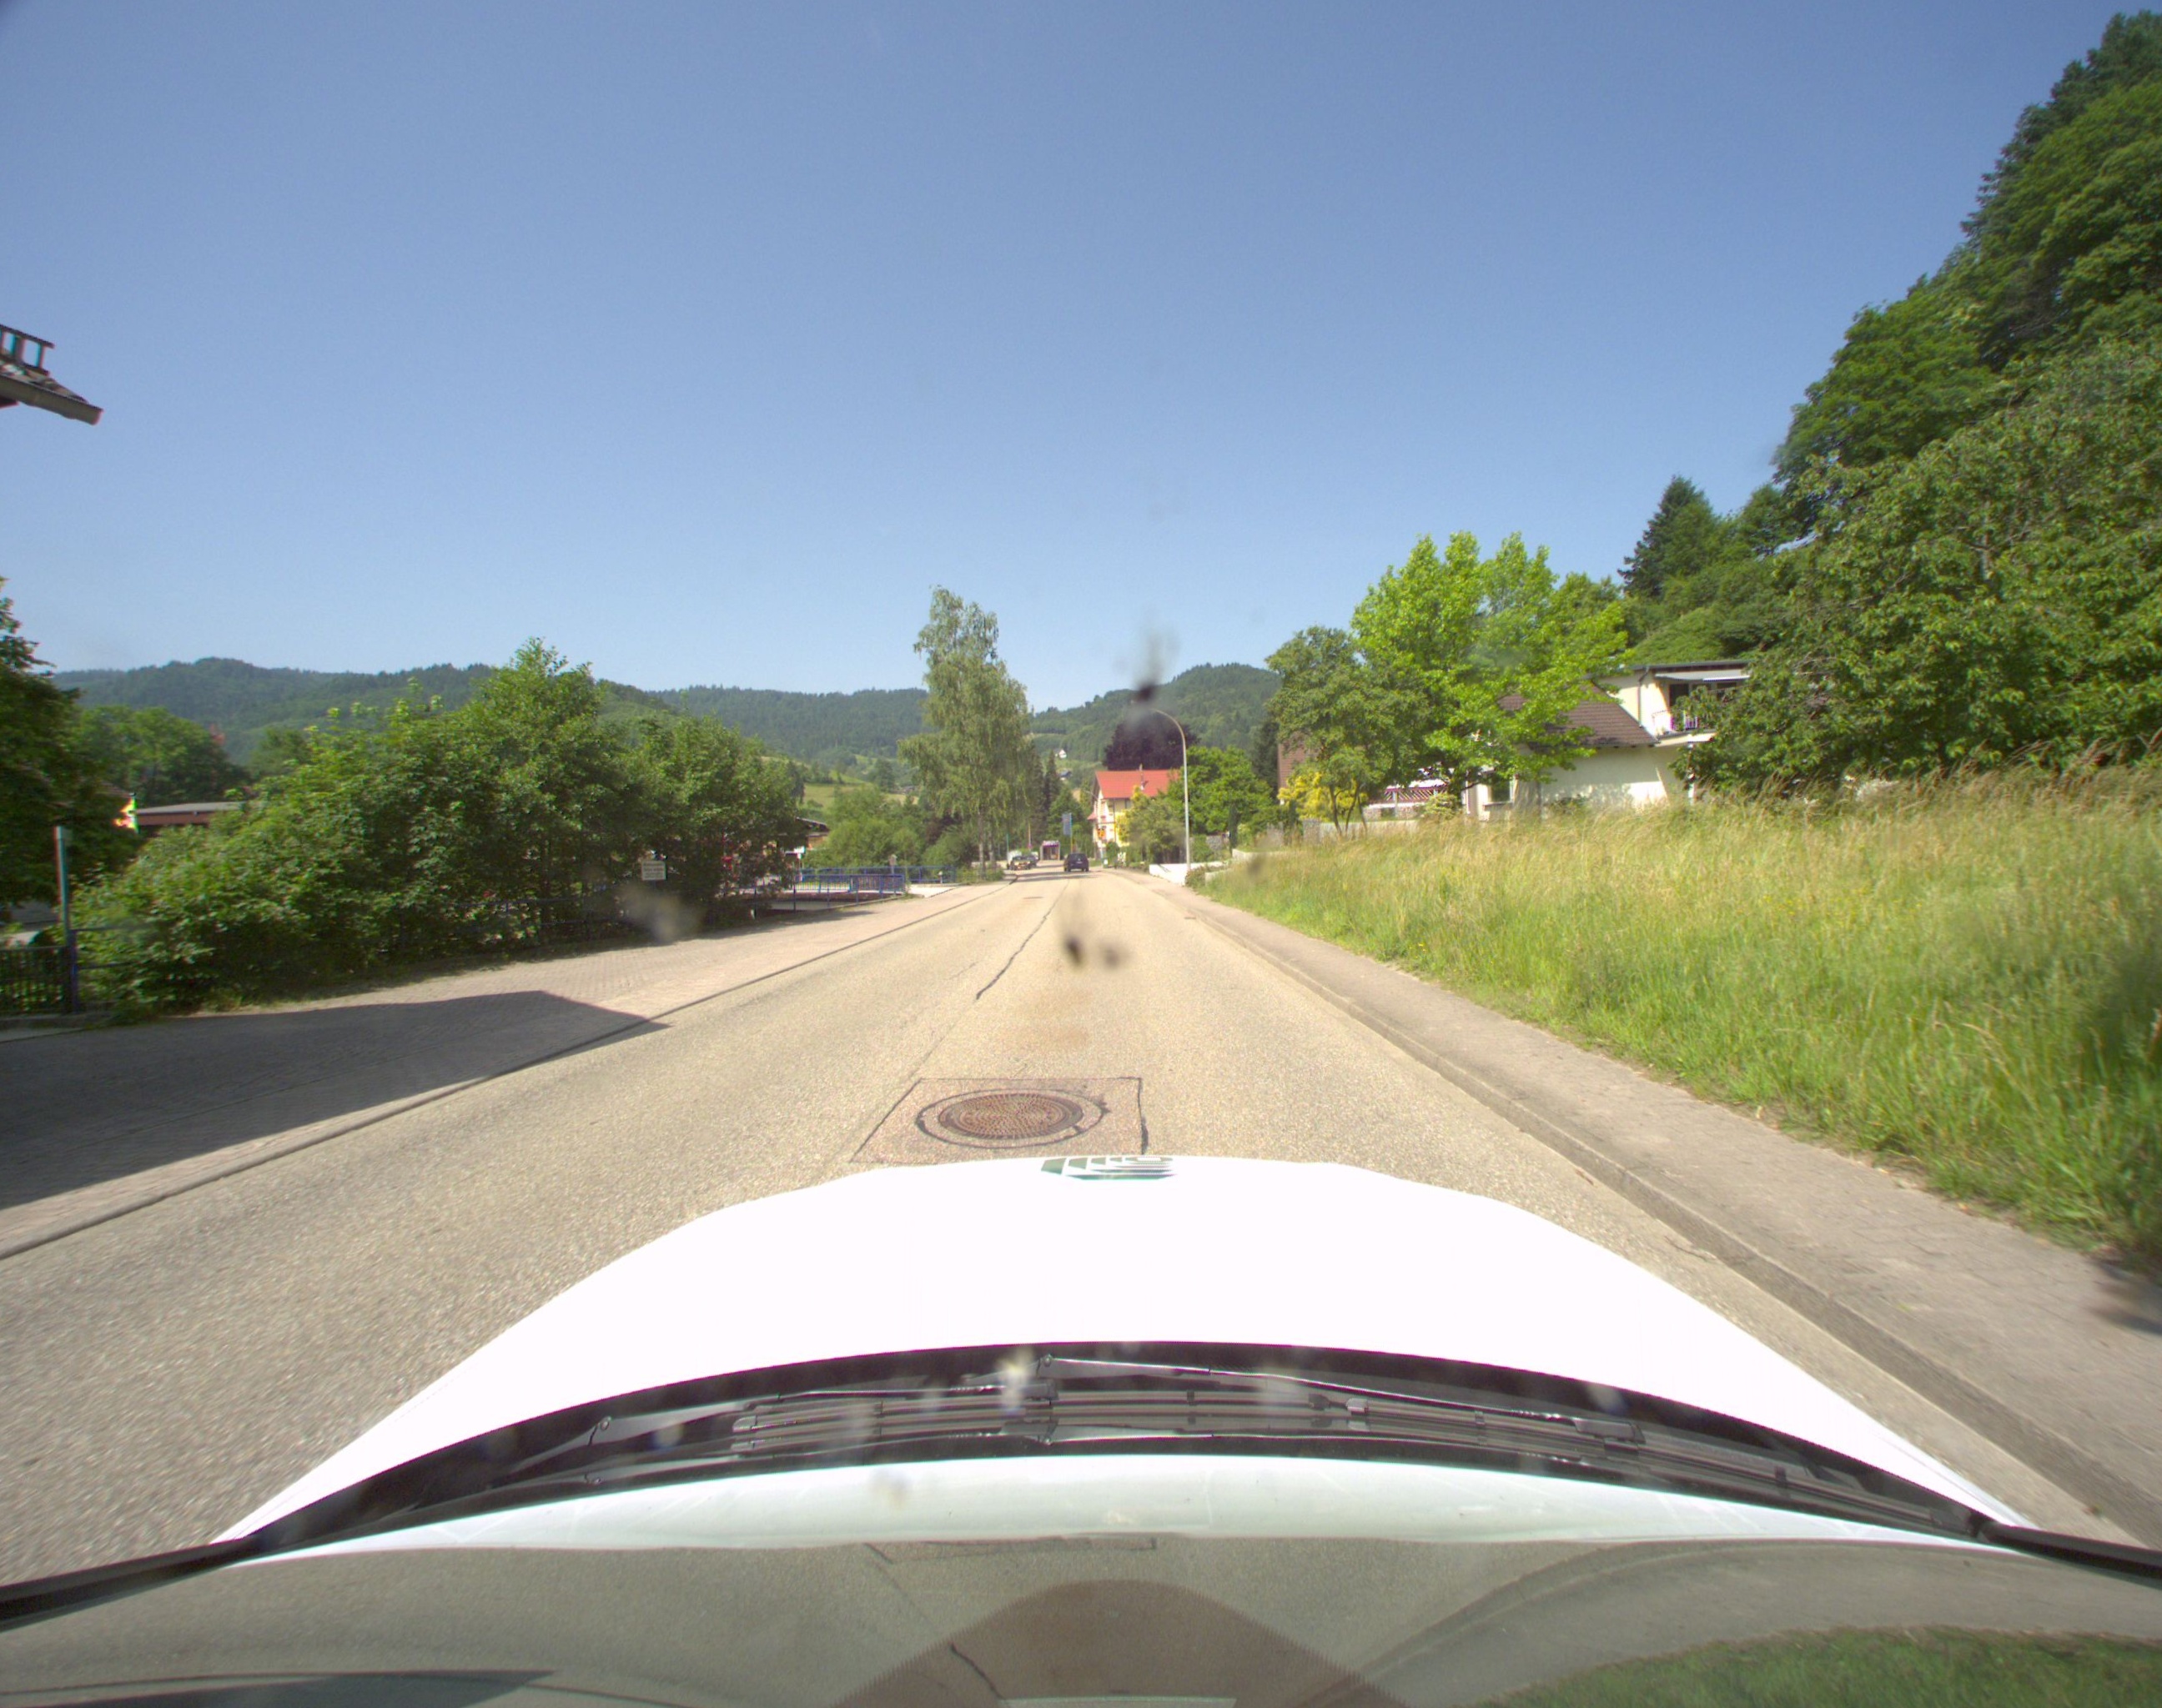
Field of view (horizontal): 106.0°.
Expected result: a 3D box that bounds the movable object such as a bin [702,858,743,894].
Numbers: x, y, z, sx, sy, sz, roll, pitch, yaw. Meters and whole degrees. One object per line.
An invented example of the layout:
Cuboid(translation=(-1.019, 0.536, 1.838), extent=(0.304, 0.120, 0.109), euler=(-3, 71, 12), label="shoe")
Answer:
Cuboid(translation=(-22.135, 1.340, 50.271), extent=(2.099, 2.072, 1.143), euler=(-3, 0, 28), label="movable object such as a bin")

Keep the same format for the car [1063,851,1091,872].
Cuboid(translation=(-0.364, 0.678, 70.987), extent=(1.918, 1.698, 3.778), euler=(-3, 0, -8), label="car")

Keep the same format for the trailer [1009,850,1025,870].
Cuboid(translation=(-7.228, 0.688, 91.666), extent=(1.463, 2.077, 3.668), euler=(-3, 0, -2), label="trailer")

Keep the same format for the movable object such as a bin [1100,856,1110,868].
Cuboid(translation=(2.174, 0.751, 75.053), extent=(0.808, 1.042, 0.577), euler=(-3, 0, -8), label="movable object such as a bin")

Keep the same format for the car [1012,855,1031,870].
Cuboid(translation=(-6.352, 0.889, 87.346), extent=(1.808, 1.500, 4.146), euler=(-3, 0, -2), label="car")

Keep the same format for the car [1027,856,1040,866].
Cuboid(translation=(-6.070, 0.877, 103.862), extent=(1.472, 1.209, 2.384), euler=(-3, 0, 0), label="car")
